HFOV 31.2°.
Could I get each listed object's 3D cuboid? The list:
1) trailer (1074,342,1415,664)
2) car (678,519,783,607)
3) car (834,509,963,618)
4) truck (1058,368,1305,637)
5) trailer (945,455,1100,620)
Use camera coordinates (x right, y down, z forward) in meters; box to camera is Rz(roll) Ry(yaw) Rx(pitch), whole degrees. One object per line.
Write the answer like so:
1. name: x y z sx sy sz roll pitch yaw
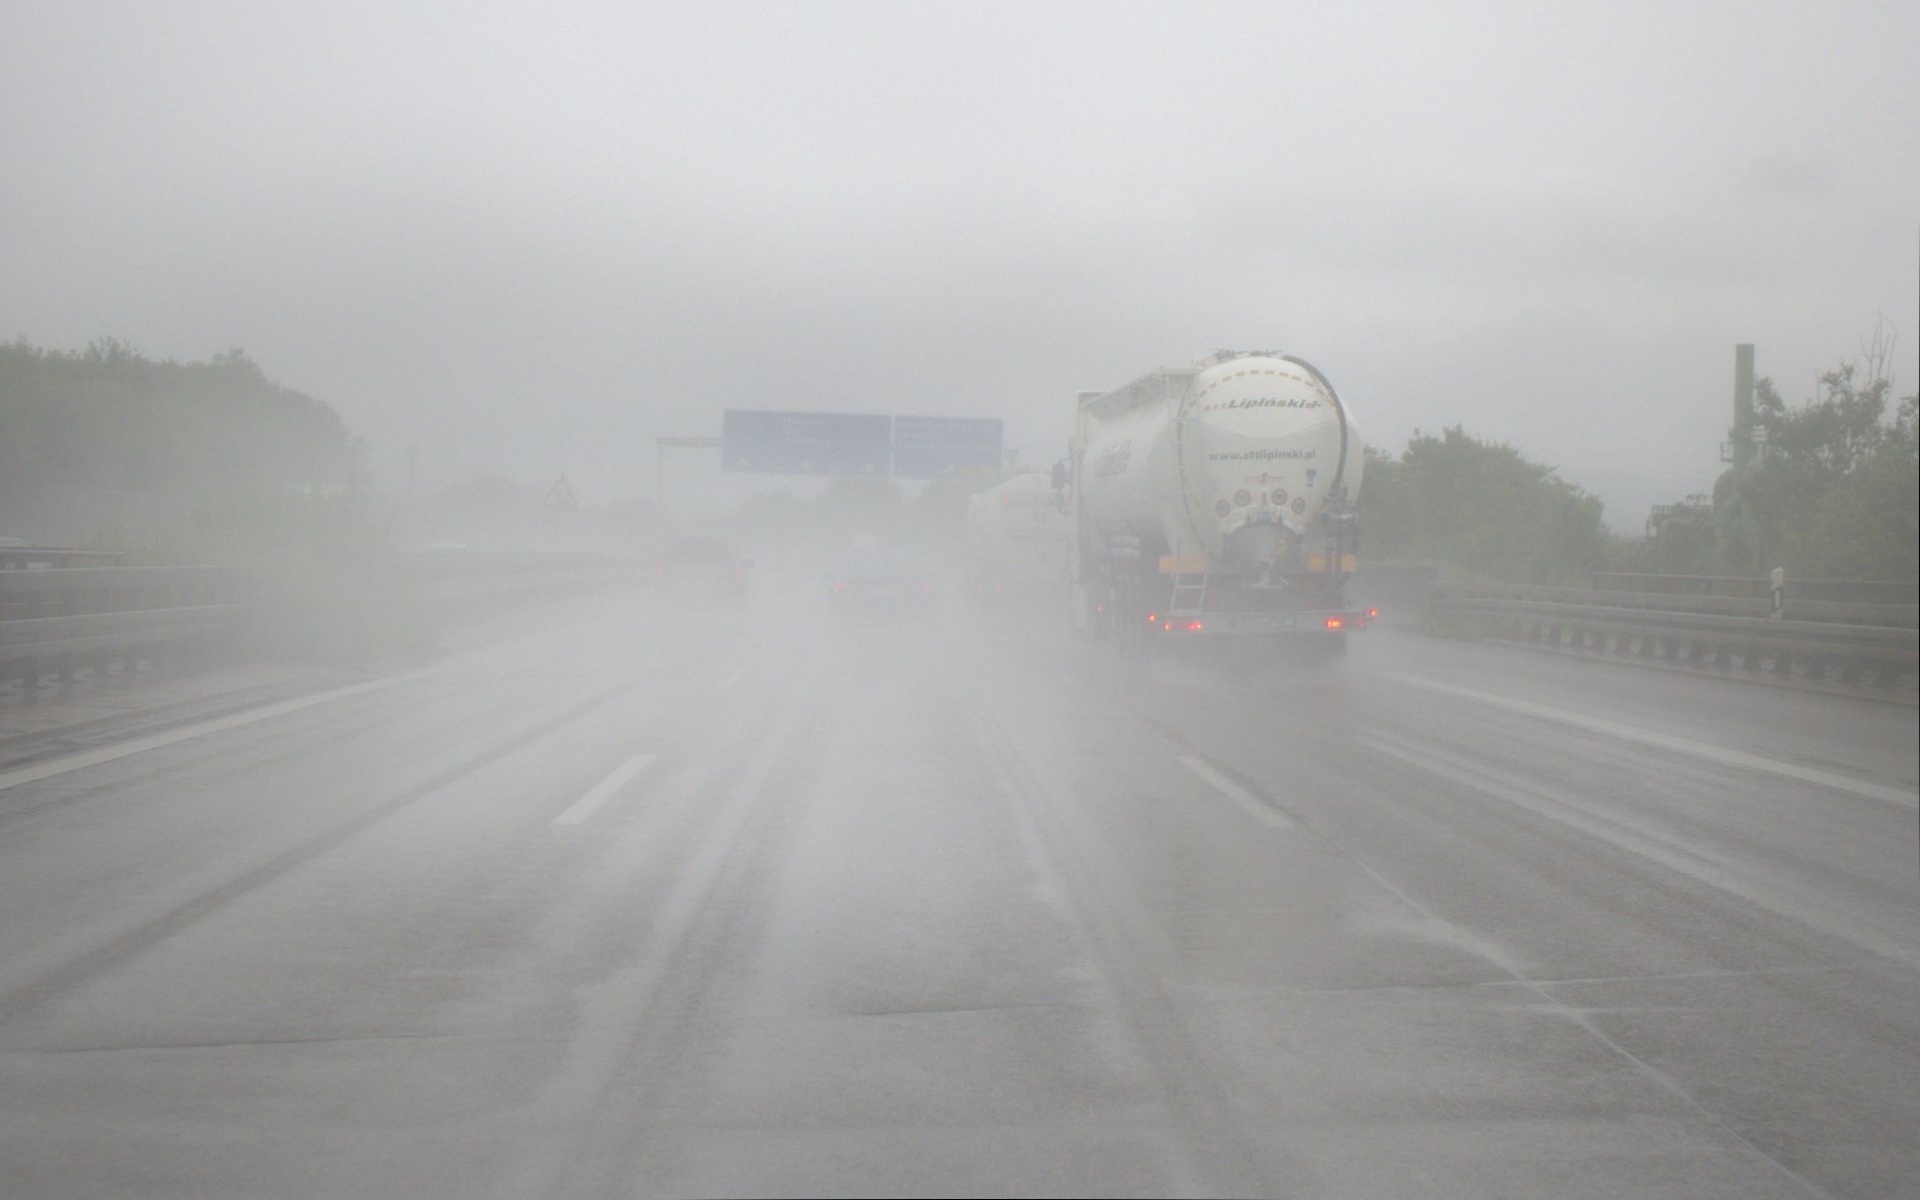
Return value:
1. trailer: 3.435 -1.215 44.991 3.188 3.657 11.668 0 1 -1
2. car: -4.699 -0.786 70.775 1.925 1.735 4.404 1 1 -1
3. car: -0.989 -0.646 57.723 1.978 1.750 4.481 0 1 1
4. truck: 3.235 -1.450 52.318 3.104 3.793 7.213 0 1 -1
5. trailer: 1.464 -1.567 85.814 3.004 3.834 8.625 2 1 -4
